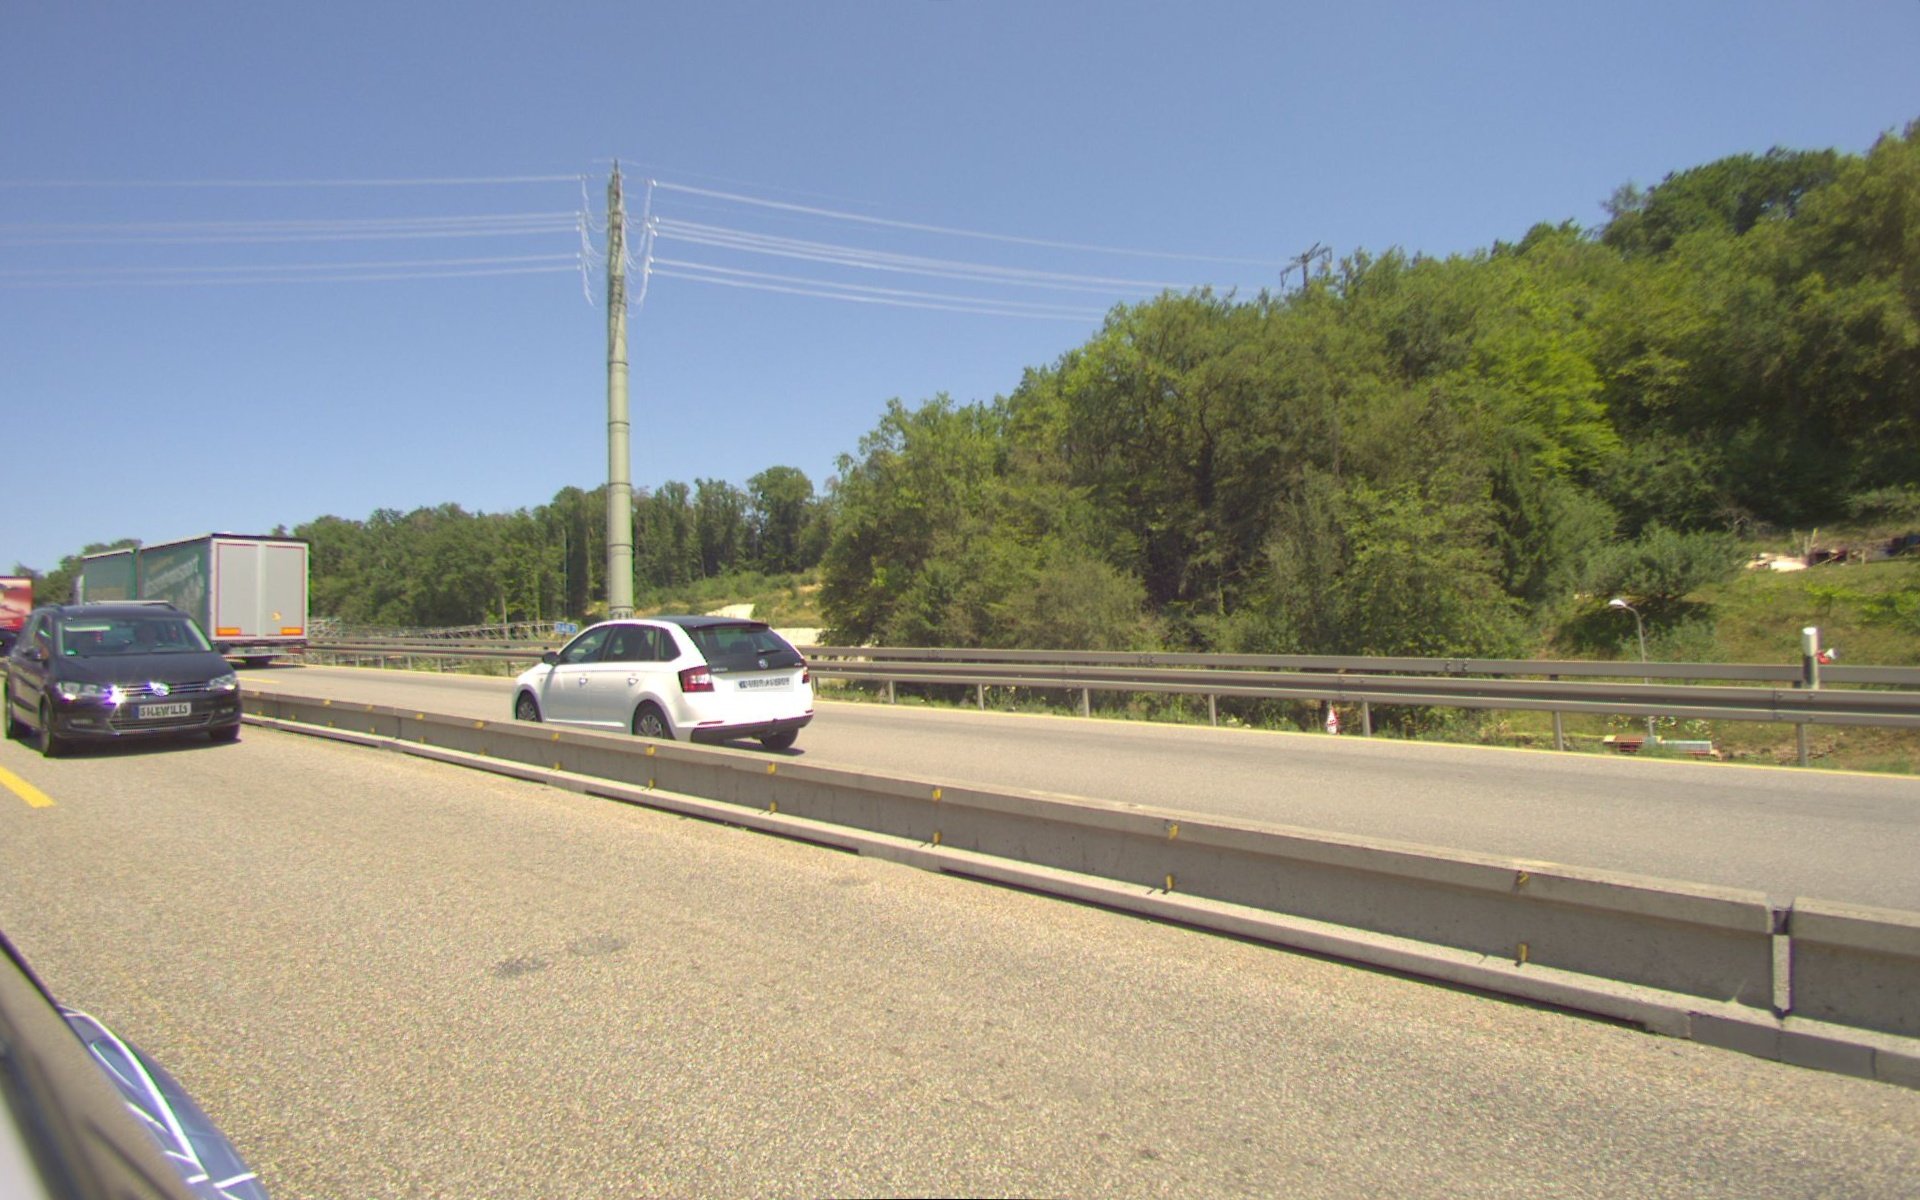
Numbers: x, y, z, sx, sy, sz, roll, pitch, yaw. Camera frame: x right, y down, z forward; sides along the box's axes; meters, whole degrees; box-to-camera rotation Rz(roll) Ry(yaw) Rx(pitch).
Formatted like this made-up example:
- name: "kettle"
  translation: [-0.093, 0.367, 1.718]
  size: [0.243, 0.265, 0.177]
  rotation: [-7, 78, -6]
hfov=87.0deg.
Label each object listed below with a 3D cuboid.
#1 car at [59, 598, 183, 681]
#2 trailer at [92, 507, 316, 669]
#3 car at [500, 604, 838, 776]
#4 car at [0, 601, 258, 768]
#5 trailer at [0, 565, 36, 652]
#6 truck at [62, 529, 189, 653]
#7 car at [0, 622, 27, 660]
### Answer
- name: "car"
  translation: [-24.061, 1.047, 28.948]
  size: [4.830, 2.189, 1.973]
  rotation: [0, 0, 41]
- name: "trailer"
  translation: [-26.452, -0.324, 34.900]
  size: [14.566, 4.676, 2.805]
  rotation: [0, 0, 39]
- name: "car"
  translation: [-3.299, 0.808, 11.004]
  size: [4.152, 1.533, 1.565]
  rotation: [0, 0, 42]
- name: "car"
  translation: [-10.780, 0.944, 12.818]
  size: [5.300, 1.719, 1.837]
  rotation: [-2, -2, 41]
- name: "trailer"
  translation: [-58.733, 0.625, 60.209]
  size: [13.977, 4.852, 3.036]
  rotation: [-2, -1, 37]
- name: "truck"
  translation: [-33.532, -0.321, 40.613]
  size: [5.780, 4.614, 2.819]
  rotation: [0, 0, 39]
- name: "car"
  translation: [-40.941, 1.696, 42.605]
  size: [4.753, 1.473, 1.882]
  rotation: [0, 0, 40]
